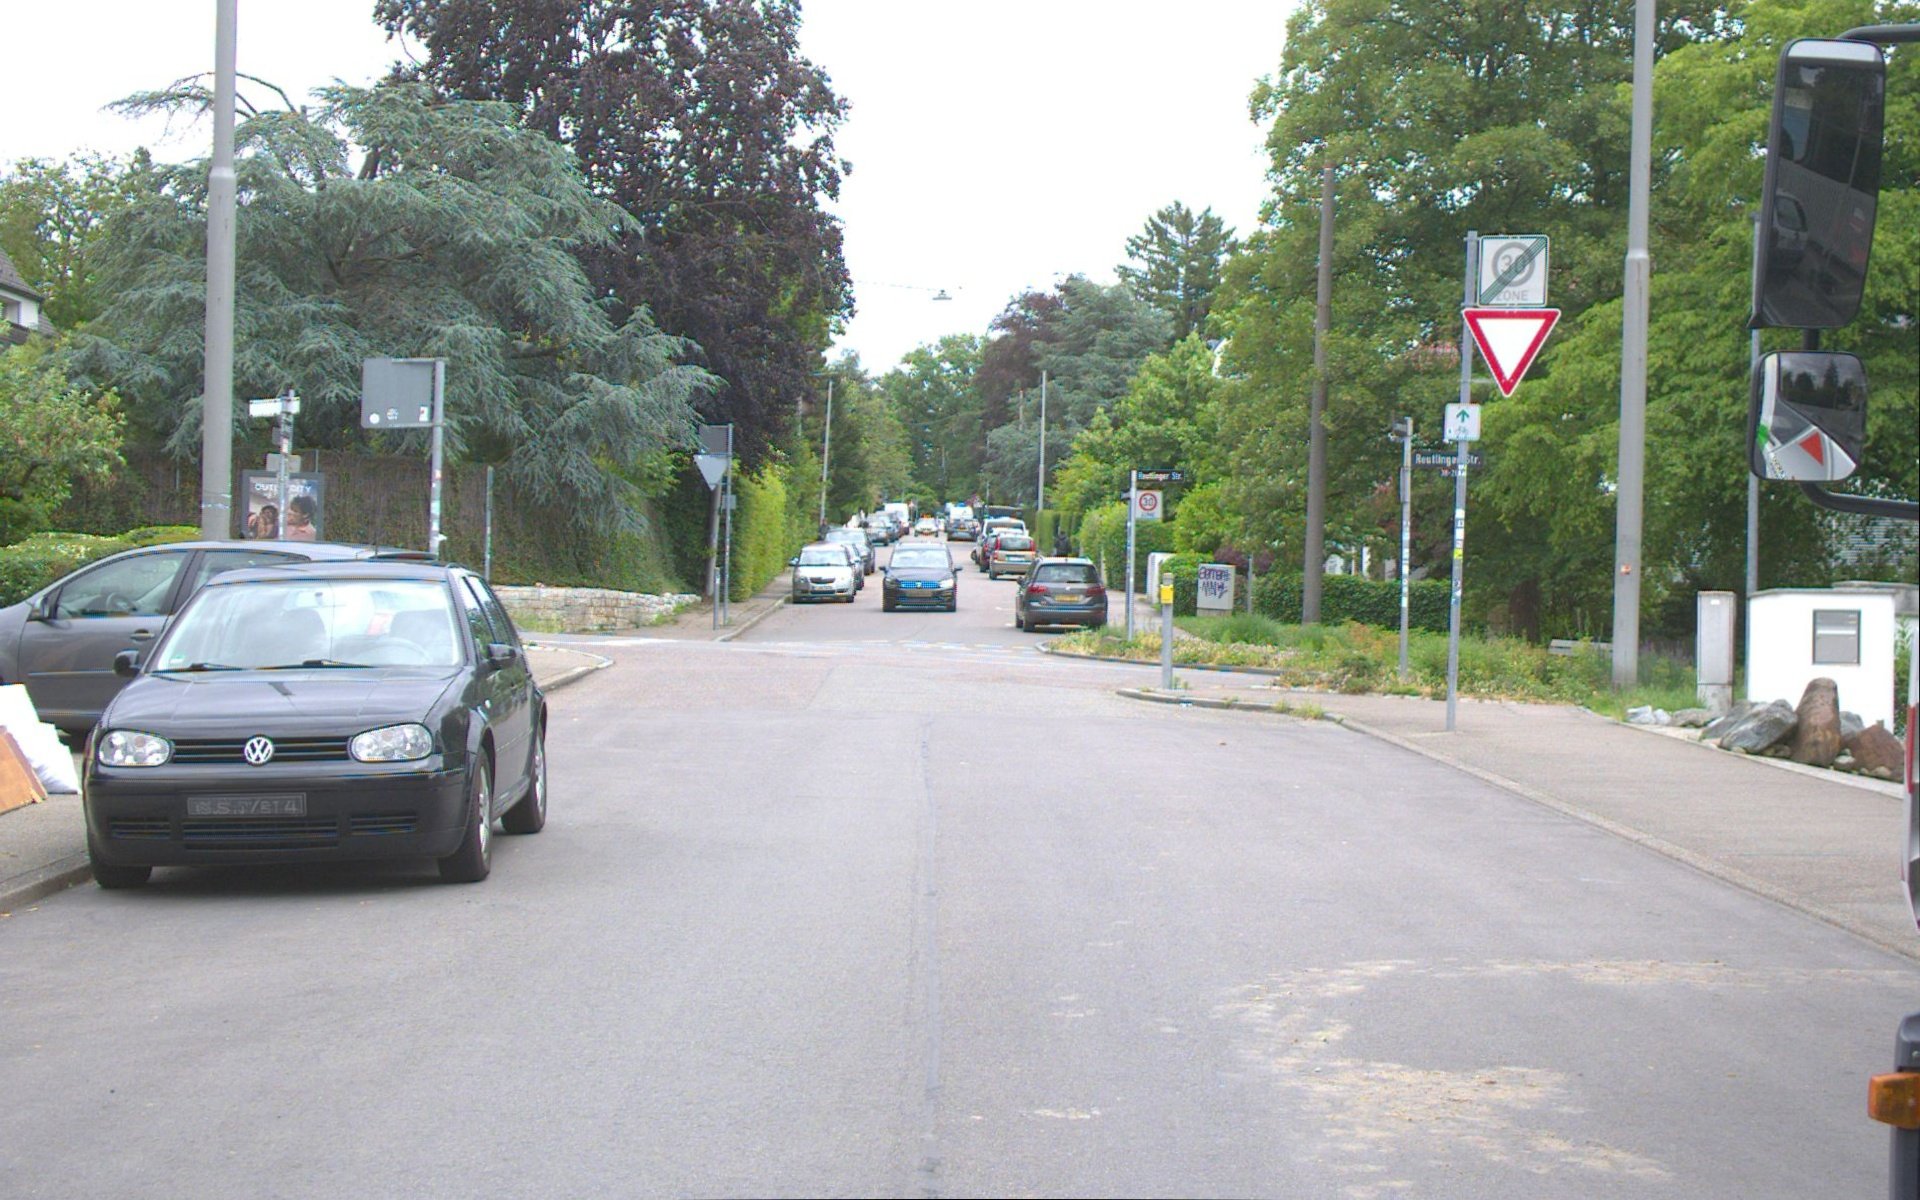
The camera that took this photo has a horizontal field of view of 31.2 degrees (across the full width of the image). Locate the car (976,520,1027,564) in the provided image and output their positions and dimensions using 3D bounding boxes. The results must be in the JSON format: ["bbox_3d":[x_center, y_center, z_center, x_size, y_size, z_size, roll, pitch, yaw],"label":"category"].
[{"bbox_3d":[1.524,-2.112,125.054,1.789,1.524,3.734,2,1,1],"label":"car"}]

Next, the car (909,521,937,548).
[{"bbox_3d":[-2.796,-4.946,260.334,1.993,1.875,4.000,3,1,-1],"label":"car"}]

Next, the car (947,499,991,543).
[{"bbox_3d":[0.340,-3.152,136.999,1.634,1.695,3.495,2,2,-1],"label":"car"}]

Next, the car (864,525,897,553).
[{"bbox_3d":[-4.164,-3.198,181.003,1.626,1.381,3.599,3,1,-1],"label":"car"}]

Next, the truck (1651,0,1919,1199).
[{"bbox_3d":[2.663,-0.837,3.021,2.524,4.732,7.187,2,1,0],"label":"truck"}]

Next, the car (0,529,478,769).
[{"bbox_3d":[-5.519,0.280,23.466,3.990,1.439,1.825,2,2,16],"label":"car"}]

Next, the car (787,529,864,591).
[{"bbox_3d":[-3.607,-1.078,92.594,1.711,1.580,4.000,2,1,2],"label":"car"}]

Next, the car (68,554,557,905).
[{"bbox_3d":[-2.908,0.507,16.205,1.637,1.390,3.989,-1,1,-2],"label":"car"}]

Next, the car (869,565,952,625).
[{"bbox_3d":[-1.202,-0.139,84.713,1.728,1.402,3.803,1,1,4],"label":"car"}]

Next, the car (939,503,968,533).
[{"bbox_3d":[-0.413,-4.924,205.988,1.634,1.695,3.495,2,2,-1],"label":"car"}]

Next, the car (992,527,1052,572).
[{"bbox_3d":[2.087,-1.726,116.198,1.810,1.331,3.633,3,2,-1],"label":"car"}]

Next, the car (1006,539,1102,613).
[{"bbox_3d":[1.953,-0.522,72.618,1.778,1.484,4.000,1,1,-1],"label":"car"}]
